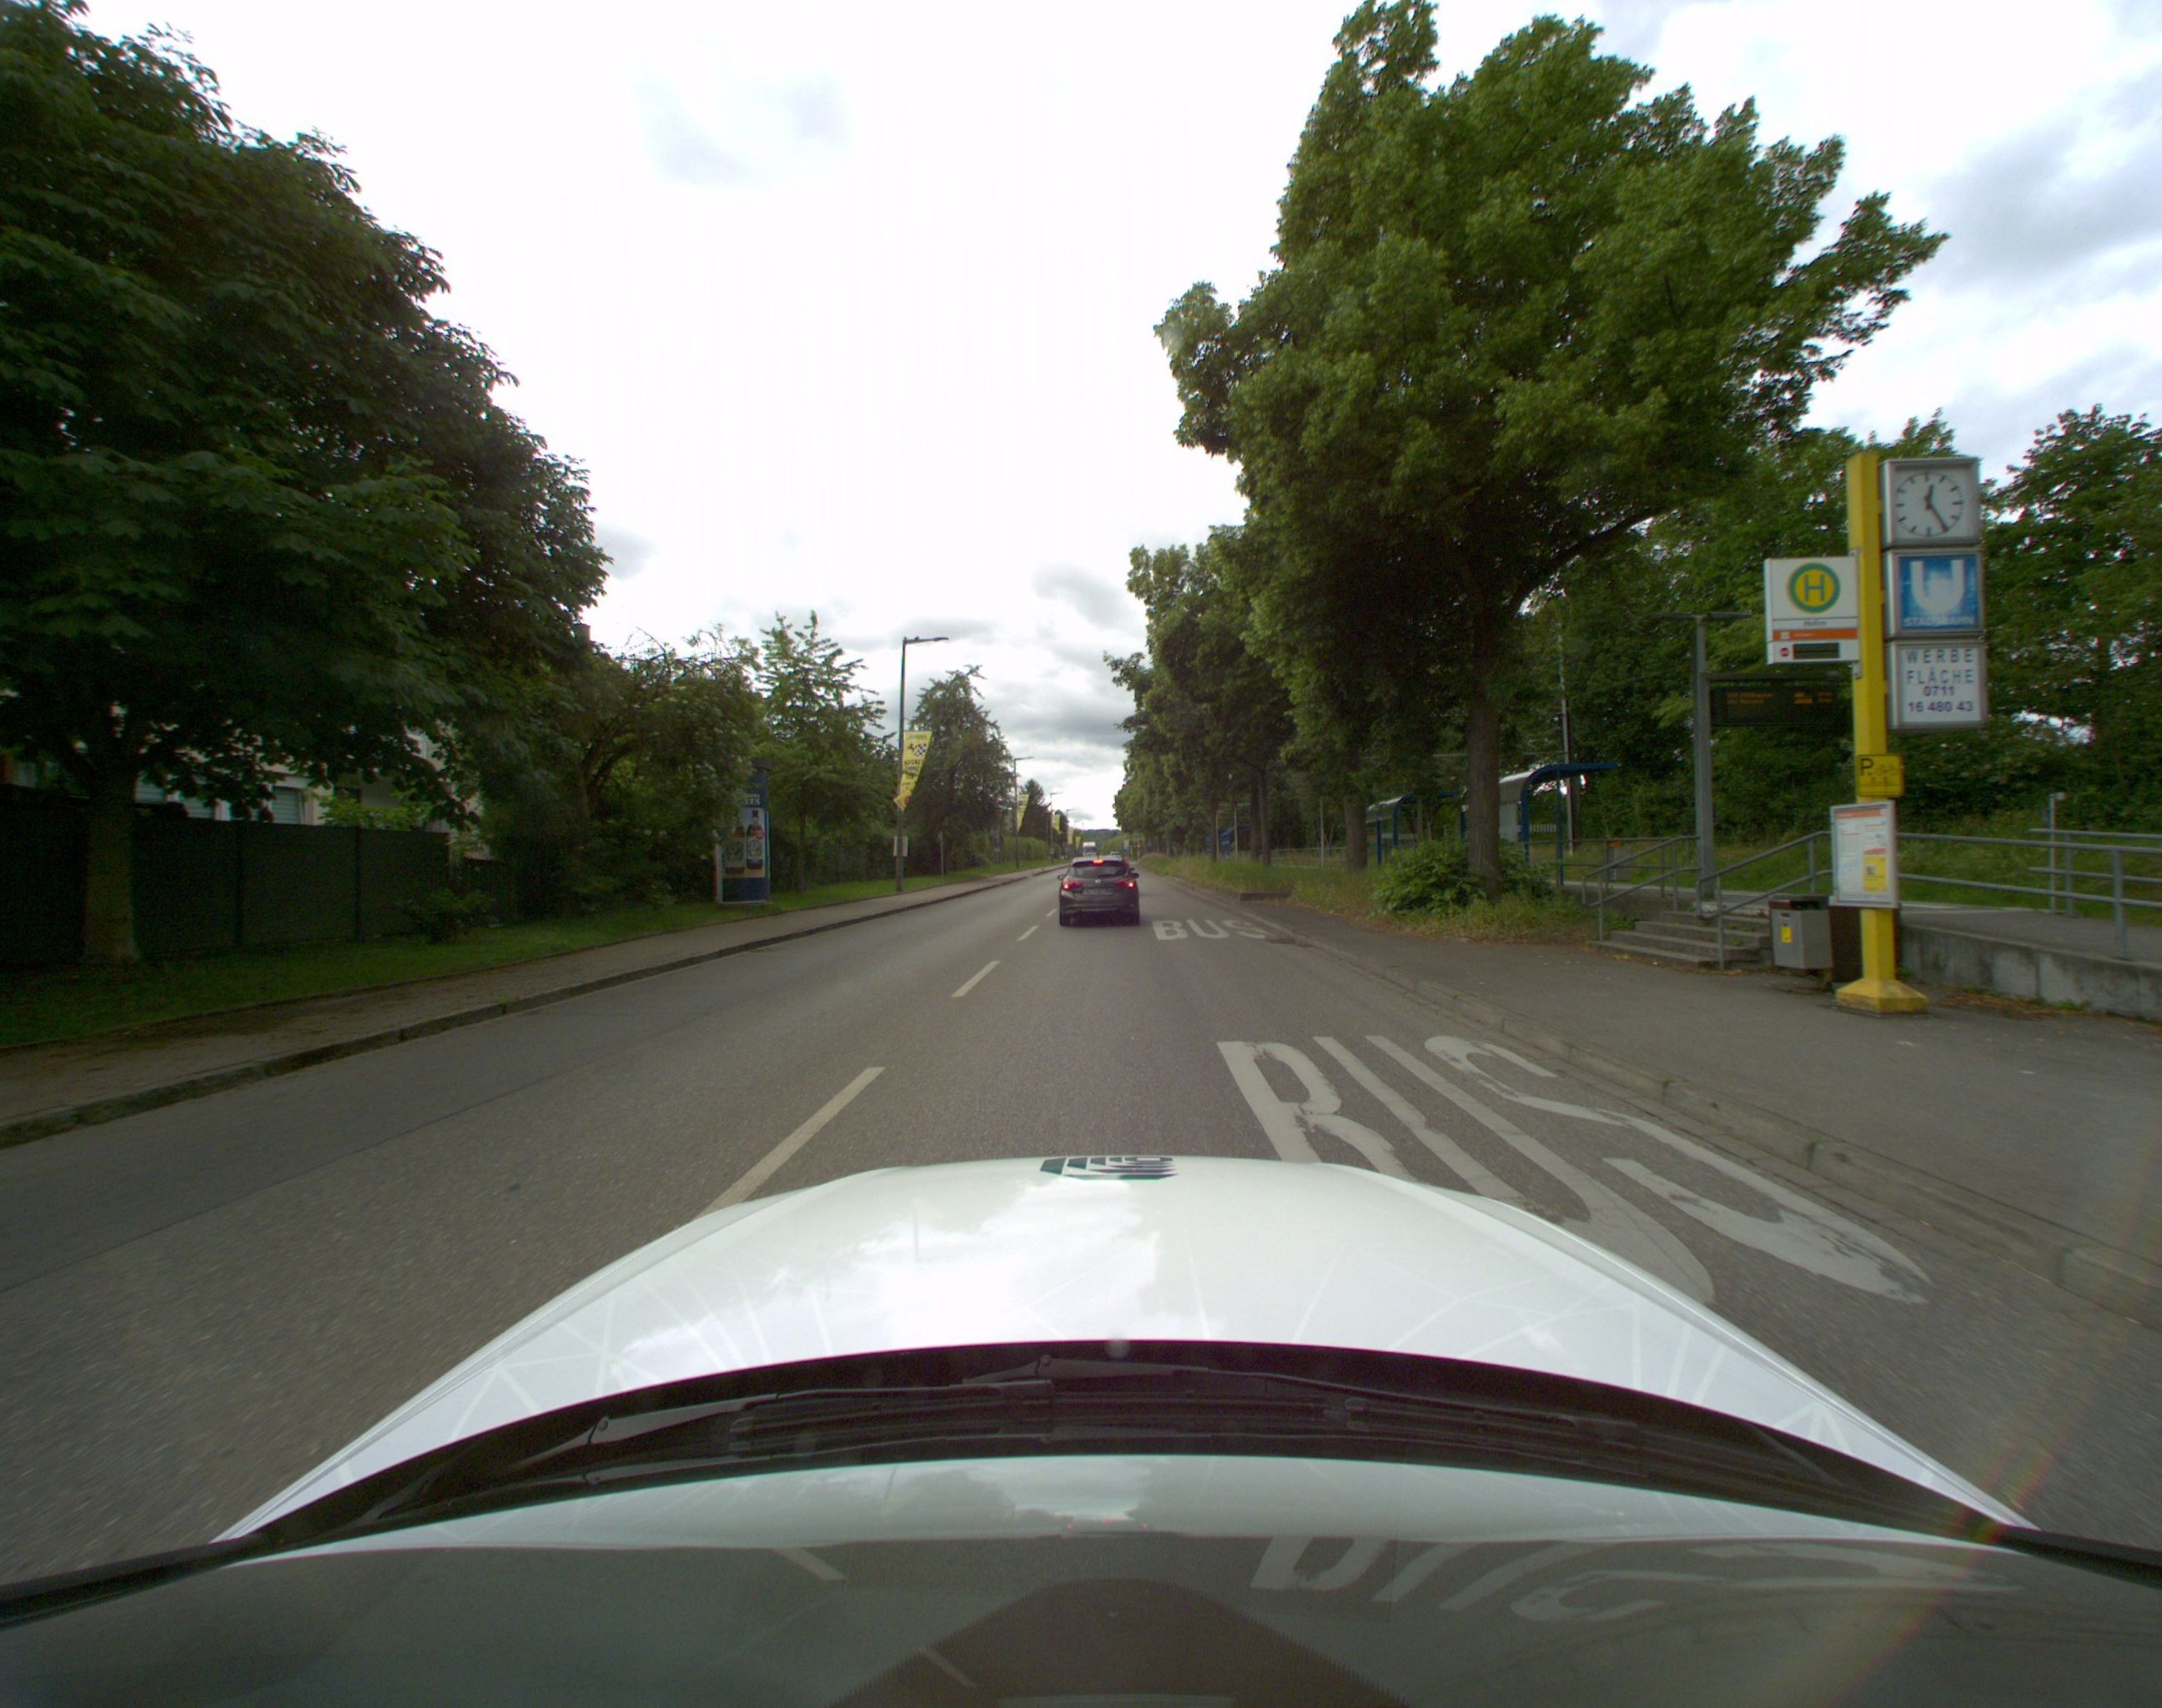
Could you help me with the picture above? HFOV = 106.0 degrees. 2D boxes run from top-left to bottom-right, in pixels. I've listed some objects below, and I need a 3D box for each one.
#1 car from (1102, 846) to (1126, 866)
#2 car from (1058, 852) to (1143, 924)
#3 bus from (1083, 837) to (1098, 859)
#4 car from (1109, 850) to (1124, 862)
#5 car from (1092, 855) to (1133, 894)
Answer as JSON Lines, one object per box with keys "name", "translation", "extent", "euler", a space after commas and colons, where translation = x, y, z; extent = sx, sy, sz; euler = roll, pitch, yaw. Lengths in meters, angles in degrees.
{"name": "car", "translation": [2.422, 0.138, 59.971], "extent": [1.685, 1.441, 3.543], "euler": [-1, 0, 2]}
{"name": "car", "translation": [0.485, 0.728, 19.066], "extent": [1.776, 1.507, 3.698], "euler": [-1, -1, 2]}
{"name": "bus", "translation": [1.836, -1.102, 156.105], "extent": [2.478, 4.025, 10.222], "euler": [-1, 0, 2]}
{"name": "car", "translation": [4.103, 0.230, 93.695], "extent": [1.685, 1.441, 3.543], "euler": [-1, 0, 2]}
{"name": "car", "translation": [1.219, 0.772, 32.010], "extent": [1.496, 1.441, 3.543], "euler": [-1, 0, 2]}
